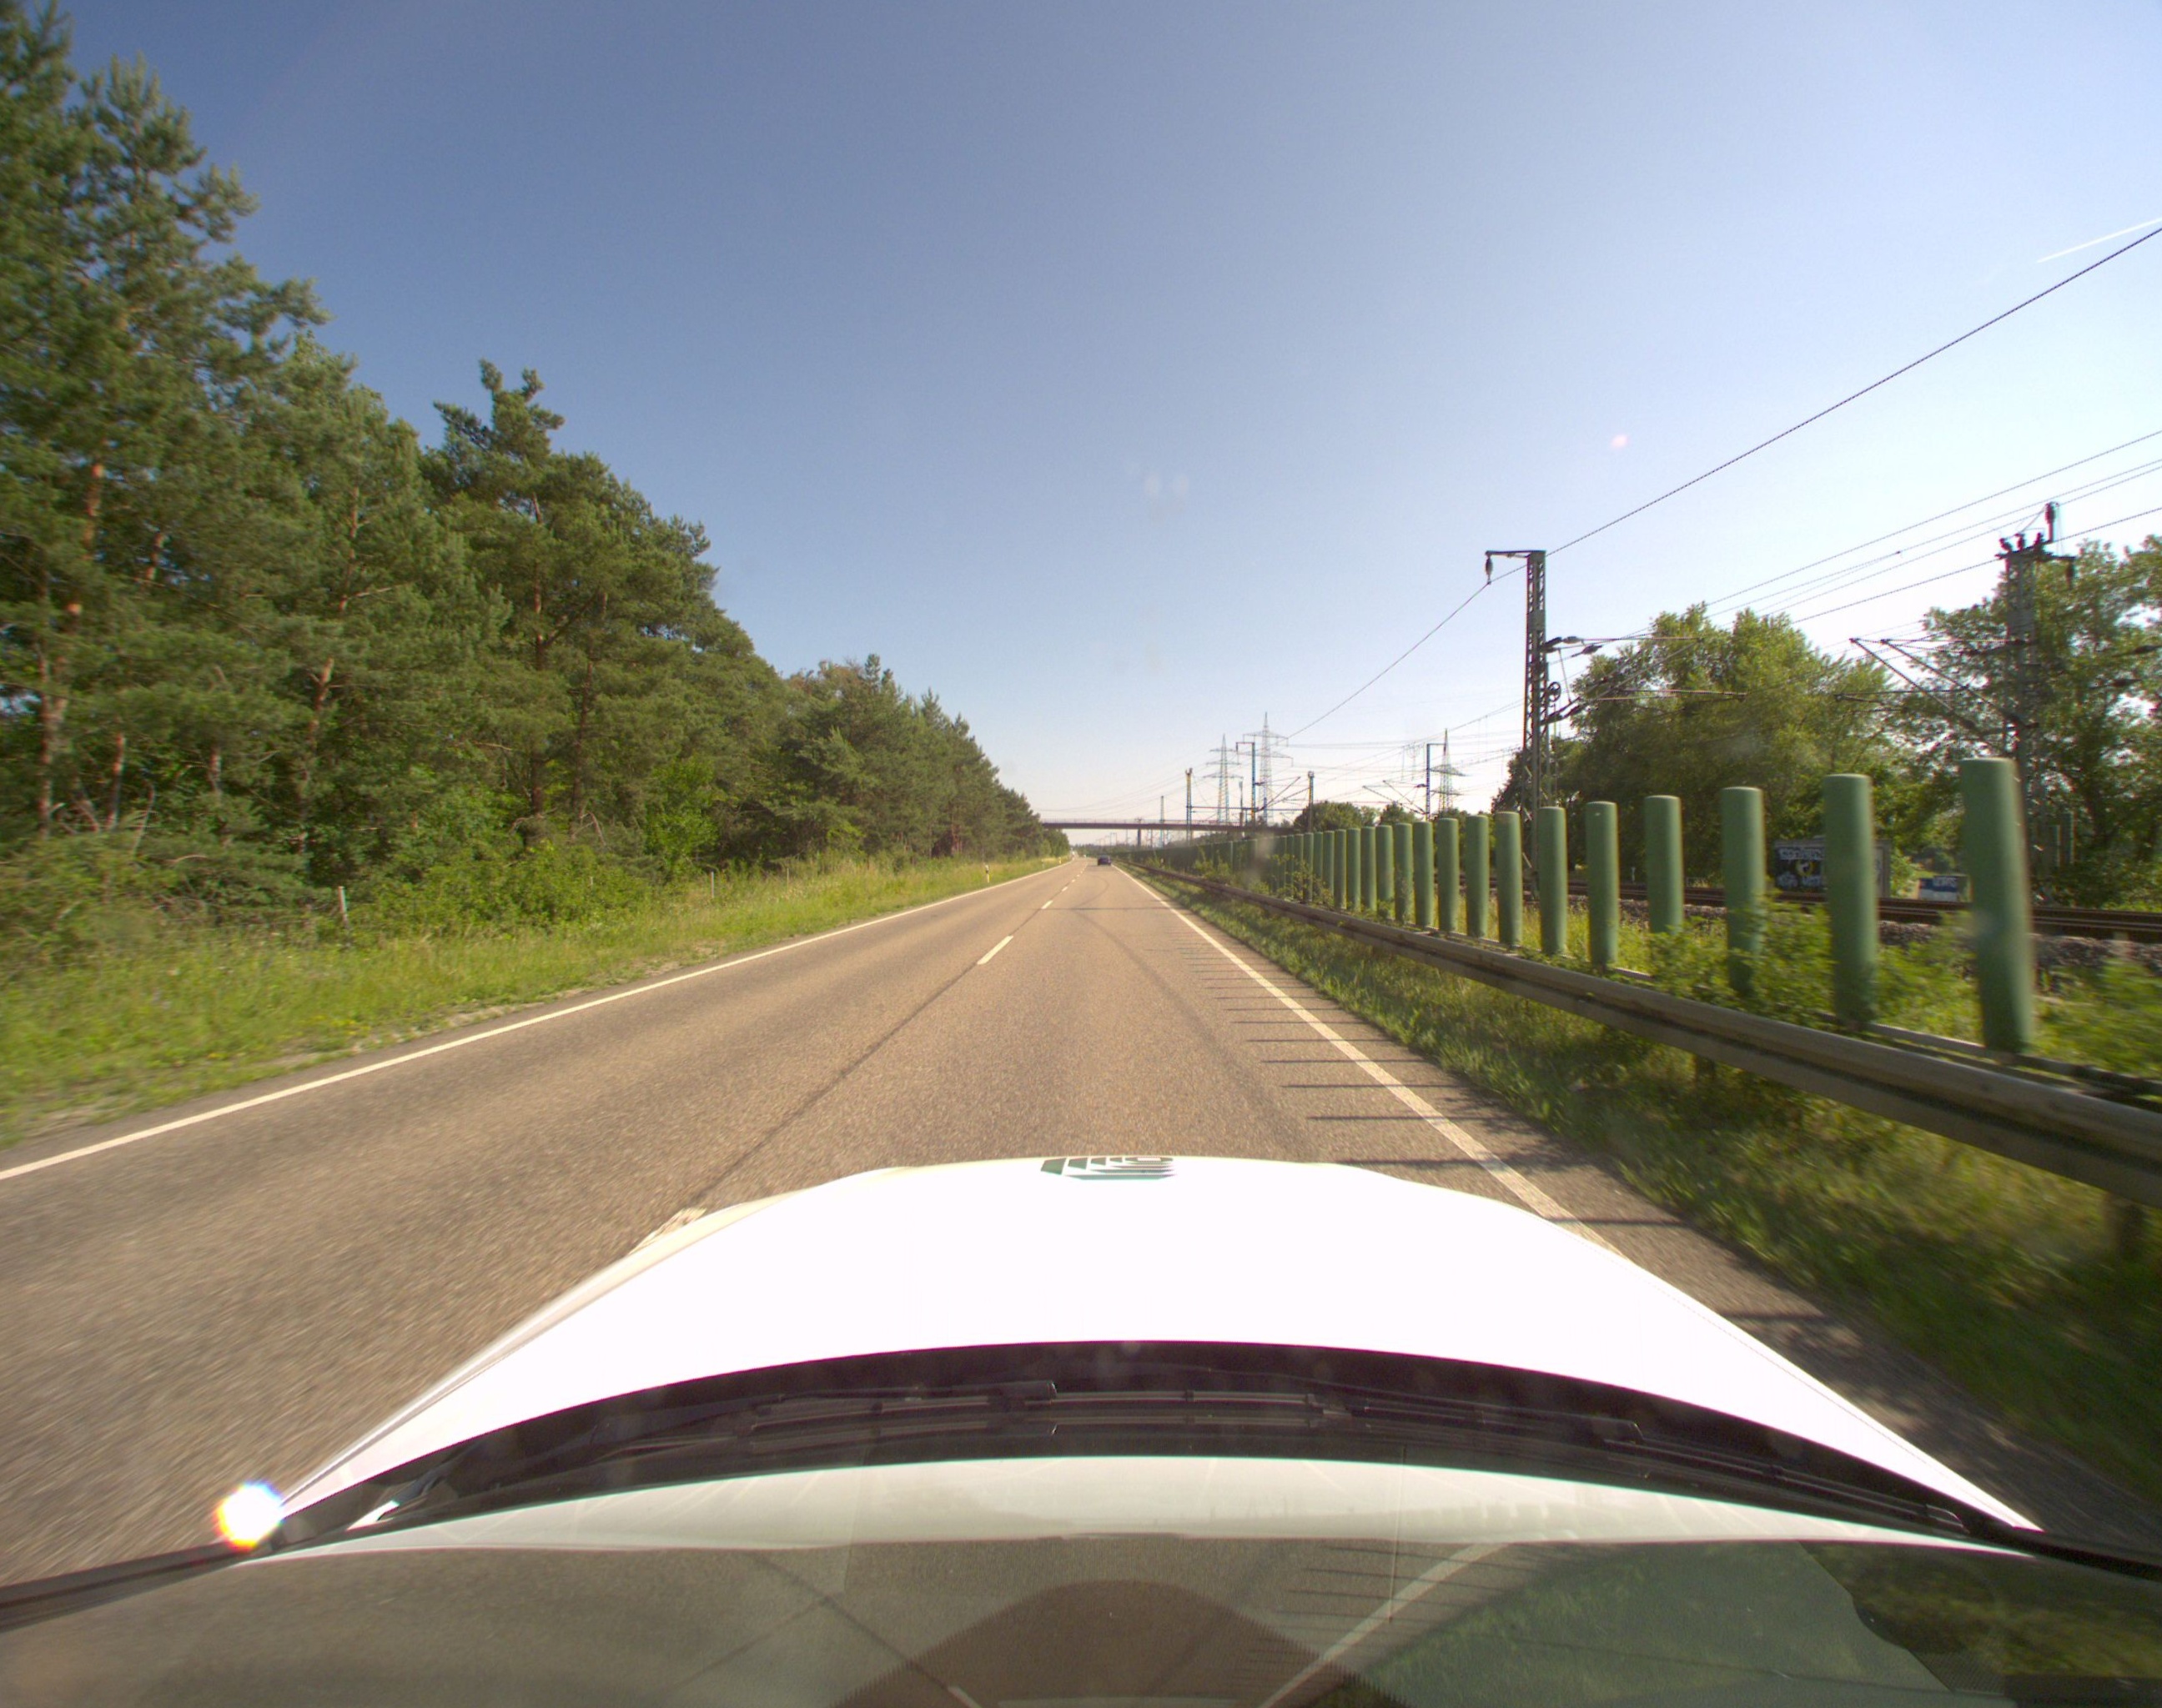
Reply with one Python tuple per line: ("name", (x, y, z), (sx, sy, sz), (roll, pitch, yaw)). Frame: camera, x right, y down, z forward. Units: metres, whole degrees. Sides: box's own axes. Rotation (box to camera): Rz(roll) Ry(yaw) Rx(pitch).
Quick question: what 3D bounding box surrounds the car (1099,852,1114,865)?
("car", (3.542, 0.637, 111.763), (1.853, 1.642, 3.999), (-2, 0, -1))
